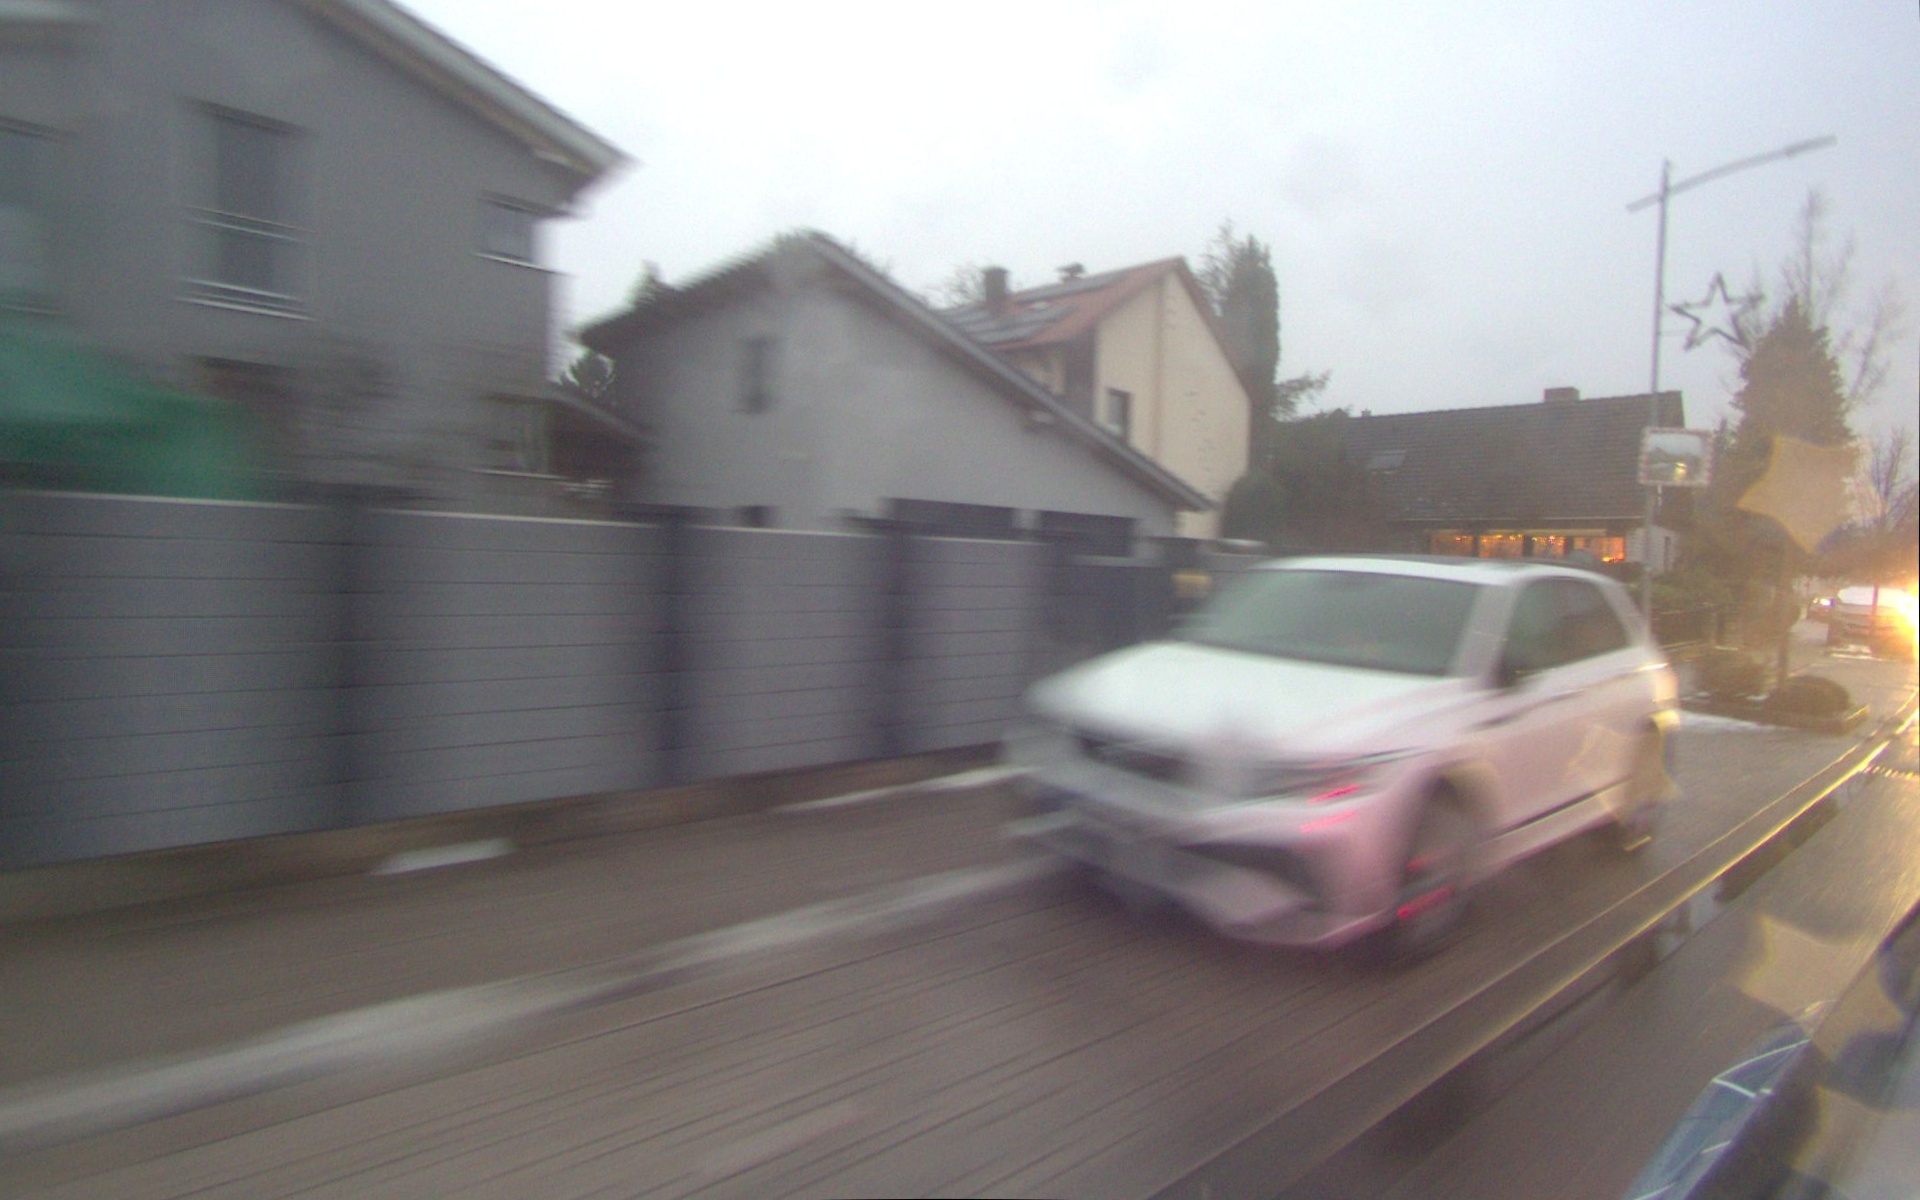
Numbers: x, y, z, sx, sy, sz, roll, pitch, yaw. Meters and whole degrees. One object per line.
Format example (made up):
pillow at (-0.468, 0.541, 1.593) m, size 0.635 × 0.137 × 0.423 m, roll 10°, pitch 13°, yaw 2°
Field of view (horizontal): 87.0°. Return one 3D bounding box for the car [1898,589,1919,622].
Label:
car at (51.393, 0.339, 53.815) m, size 4.490 × 1.660 × 1.904 m, roll 1°, pitch 3°, yaw -44°

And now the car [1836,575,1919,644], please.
car at (27.008, 0.254, 29.564) m, size 1.911 × 1.812 × 4.496 m, roll 4°, pitch 3°, yaw 43°

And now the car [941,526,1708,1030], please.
car at (2.128, 0.517, 5.236) m, size 4.228 × 1.583 × 1.812 m, roll 0°, pitch 3°, yaw -40°
